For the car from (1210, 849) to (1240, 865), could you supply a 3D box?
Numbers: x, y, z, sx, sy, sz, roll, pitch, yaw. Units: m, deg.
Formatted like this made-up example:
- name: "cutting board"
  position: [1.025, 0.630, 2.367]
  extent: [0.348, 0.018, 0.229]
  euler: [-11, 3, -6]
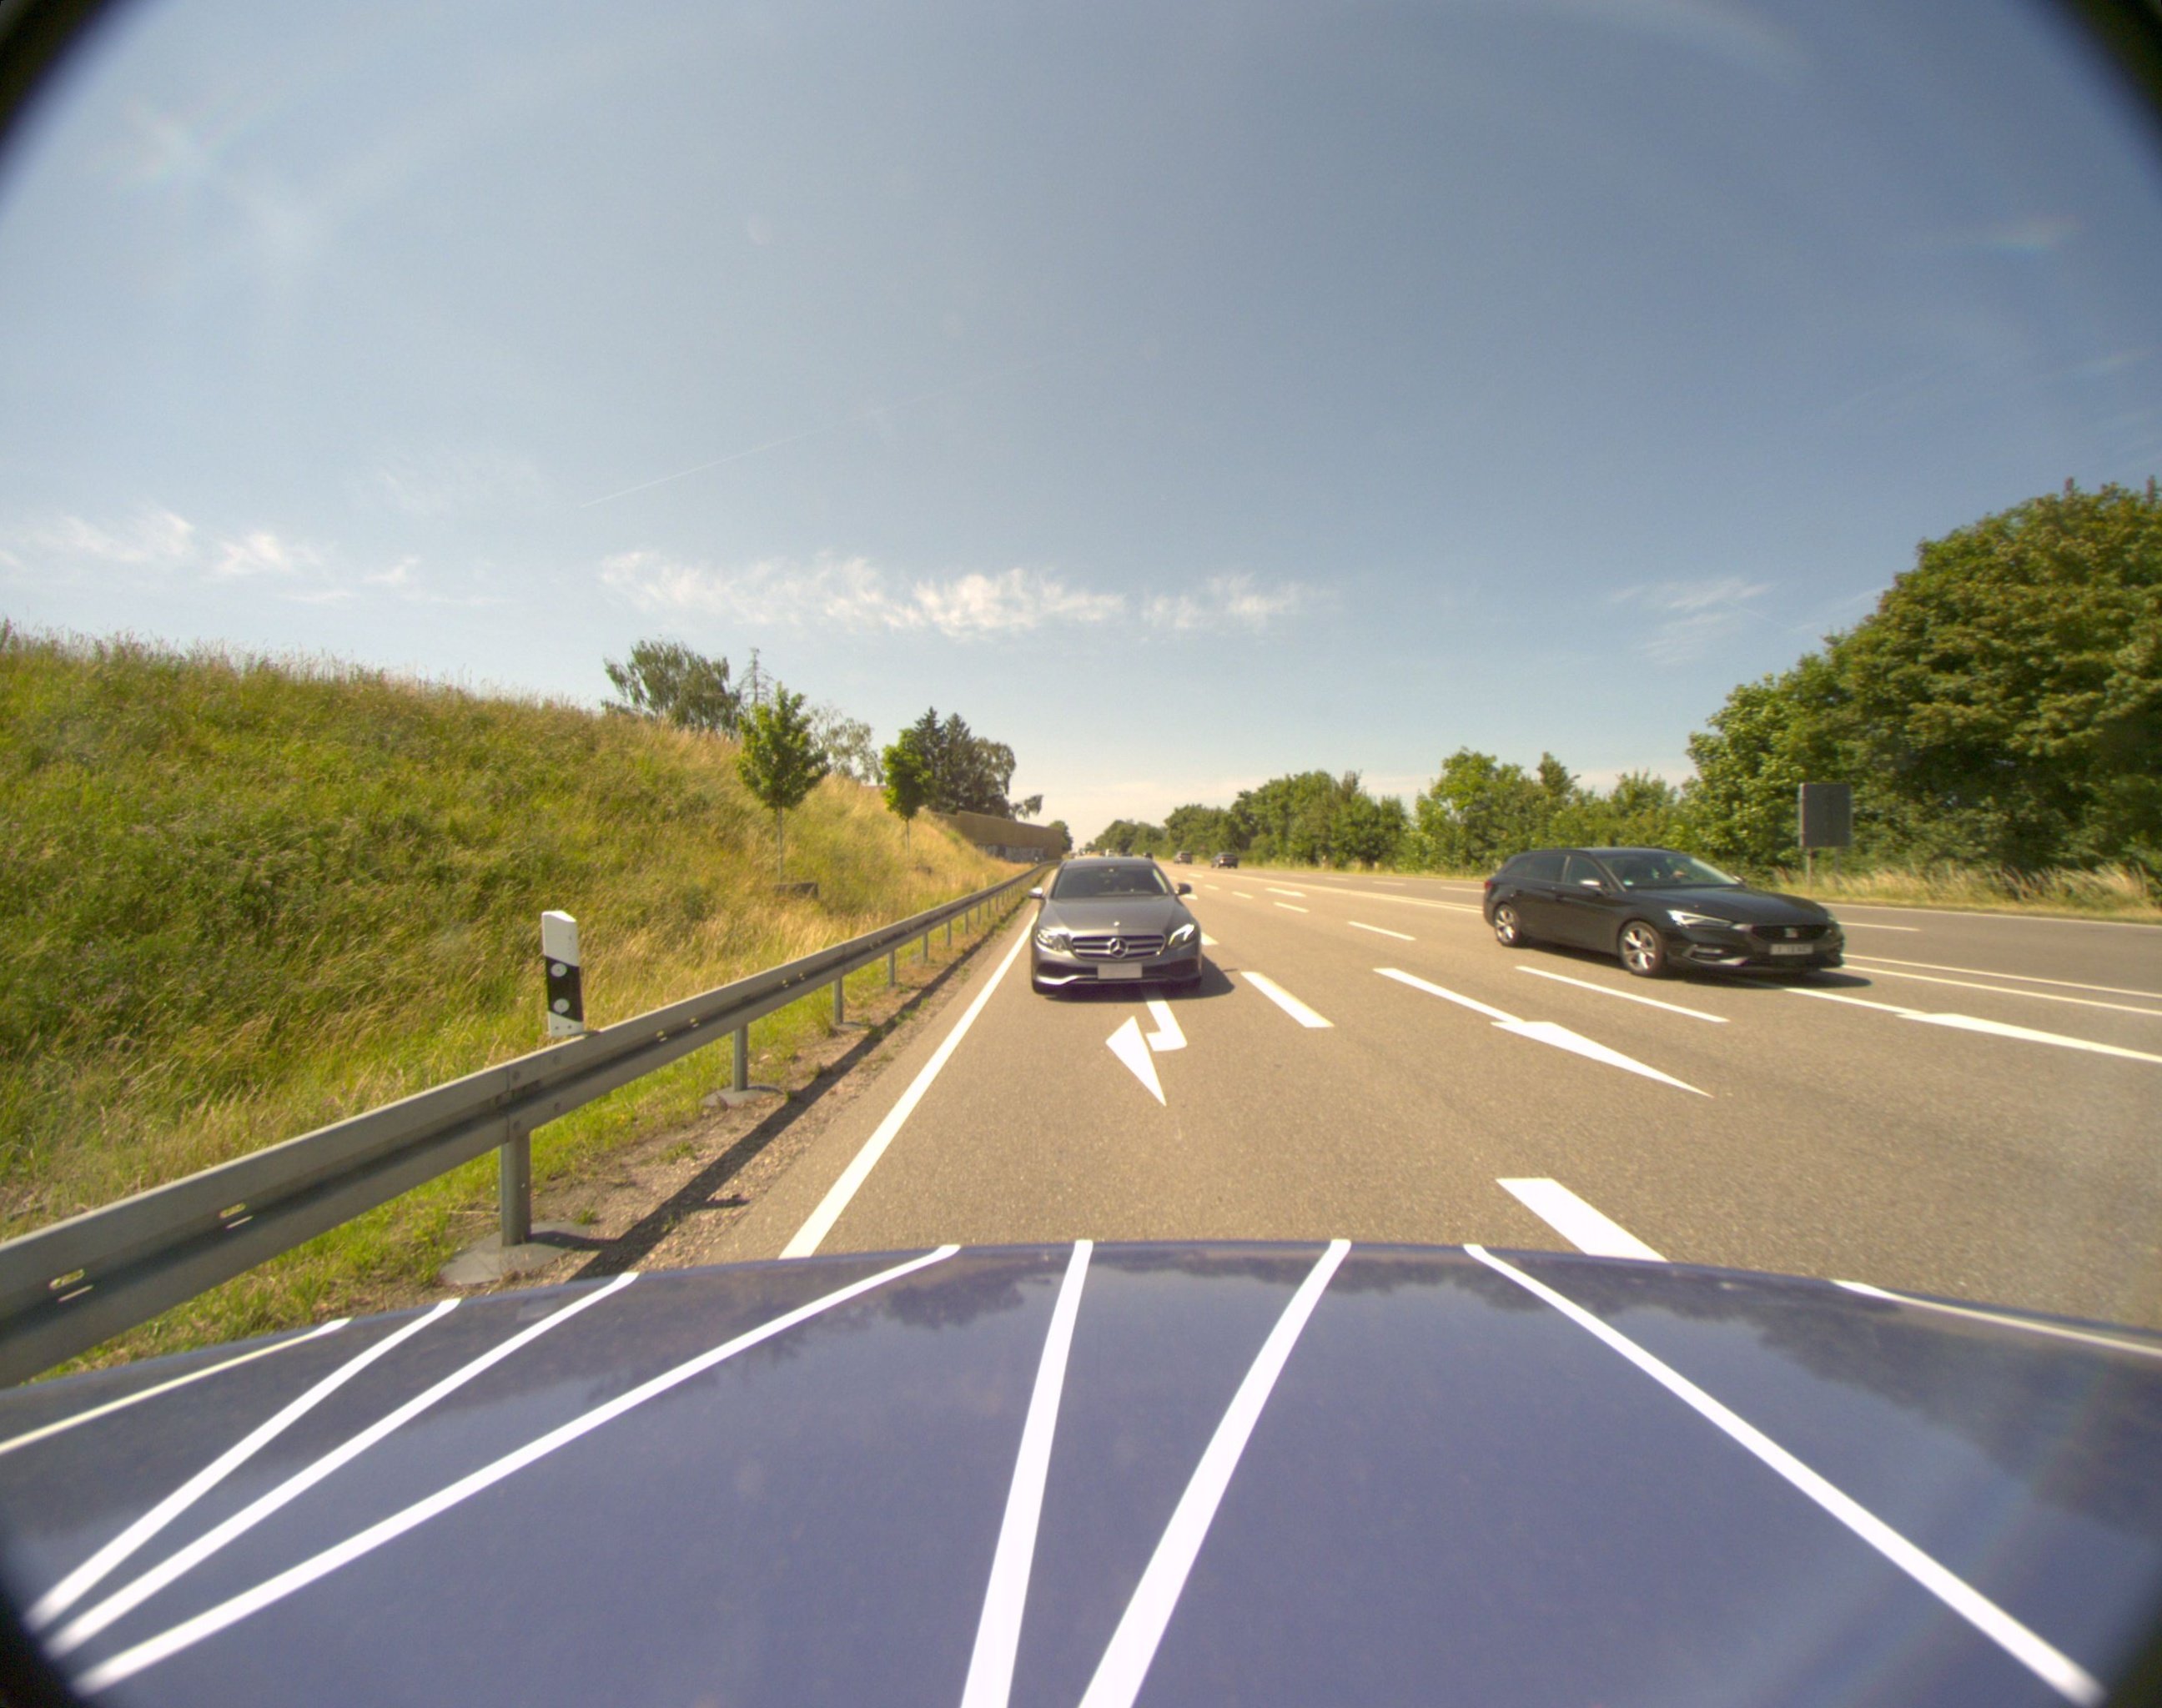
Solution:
- name: "car"
  position: [13.411, 0.260, 70.956]
  extent: [1.883, 1.390, 4.530]
  euler: [-2, 1, -1]

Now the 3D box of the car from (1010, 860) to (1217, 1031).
- name: "car"
  position: [0.246, 0.867, 9.330]
  extent: [1.894, 1.439, 4.524]
  euler: [-2, 1, -2]

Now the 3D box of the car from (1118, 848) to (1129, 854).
- name: "car"
  position: [9.001, -0.660, 161.612]
  extent: [1.810, 1.272, 4.764]
  euler: [-1, 1, -1]

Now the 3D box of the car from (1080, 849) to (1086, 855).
- name: "car"
  position: [0.633, -0.683, 249.023]
  extent: [1.801, 1.674, 3.999]
  euler: [-2, 2, 0]

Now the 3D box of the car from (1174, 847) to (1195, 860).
- name: "car"
  position: [13.529, -0.130, 99.752]
  extent: [2.033, 1.630, 4.568]
  euler: [-2, 1, -2]

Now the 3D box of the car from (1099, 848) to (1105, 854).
- name: "car"
  position: [7.068, -1.029, 258.640]
  extent: [1.834, 1.835, 3.847]
  euler: [-2, 2, -2]

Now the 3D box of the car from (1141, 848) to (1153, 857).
- name: "car"
  position: [10.961, -0.265, 126.523]
  extent: [1.649, 1.479, 3.557]
  euler: [-2, 1, -2]

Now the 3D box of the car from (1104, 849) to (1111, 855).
- name: "car"
  position: [8.081, -0.625, 229.845]
  extent: [1.893, 1.527, 4.525]
  euler: [-2, 1, 1]

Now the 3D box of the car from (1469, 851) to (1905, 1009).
- name: "car"
  position: [7.000, 0.722, 9.581]
  extent: [1.894, 1.439, 4.525]
  euler: [-2, 1, 0]

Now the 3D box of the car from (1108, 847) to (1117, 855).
- name: "car"
  position: [7.758, -0.710, 188.397]
  extent: [1.910, 1.906, 5.051]
  euler: [0, 0, 0]

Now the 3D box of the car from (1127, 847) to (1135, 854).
- name: "car"
  position: [11.817, -0.841, 179.603]
  extent: [1.526, 1.461, 3.787]
  euler: [-2, 2, -3]
